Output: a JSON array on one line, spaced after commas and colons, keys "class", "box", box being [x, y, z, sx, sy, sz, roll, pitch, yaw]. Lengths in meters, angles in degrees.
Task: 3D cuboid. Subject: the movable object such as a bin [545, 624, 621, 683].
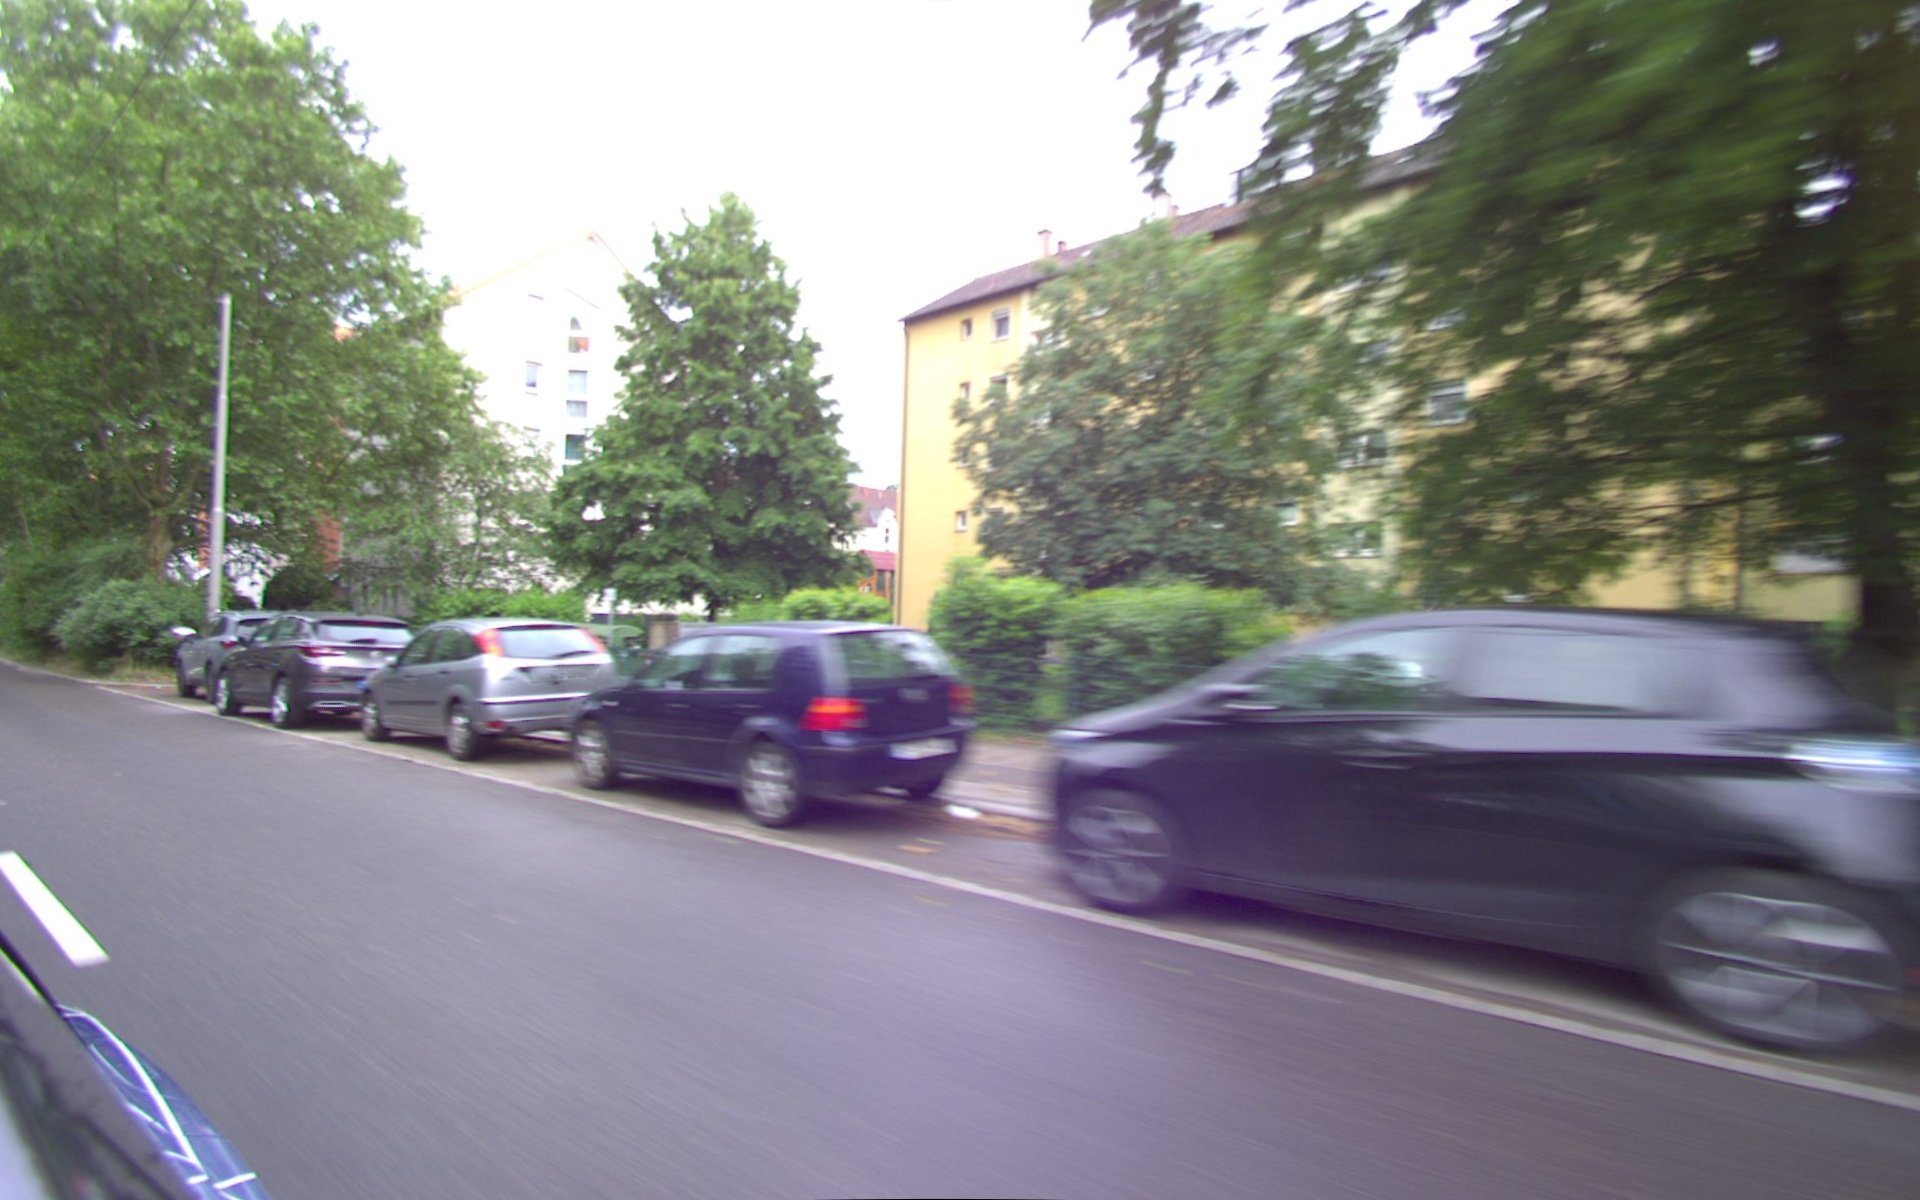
[{"class": "movable object such as a bin", "box": [-9.229, 1.285, 24.760, 1.480, 1.390, 1.222, -1, -2, 44]}]

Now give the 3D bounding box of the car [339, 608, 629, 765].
[{"class": "car", "box": [-5.692, 0.872, 11.860, 4.123, 1.519, 1.654, -1, -1, 43]}]

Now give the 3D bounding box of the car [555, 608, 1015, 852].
[{"class": "car", "box": [-1.579, 0.844, 8.260, 3.872, 1.519, 1.654, -1, -1, 41]}]

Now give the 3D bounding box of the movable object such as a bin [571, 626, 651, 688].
[{"class": "movable object such as a bin", "box": [-8.185, 1.305, 23.741, 1.480, 1.390, 1.222, -1, -2, 44]}]

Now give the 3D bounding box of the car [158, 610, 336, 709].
[{"class": "car", "box": [-13.742, 1.130, 19.397, 4.563, 1.670, 1.715, -2, -6, 42]}]

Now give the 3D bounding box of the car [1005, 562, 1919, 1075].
[{"class": "car", "box": [2.312, 0.745, 4.688, 4.016, 1.549, 1.631, -1, -6, 41]}]

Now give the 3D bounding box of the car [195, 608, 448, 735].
[{"class": "car", "box": [-9.474, 0.989, 14.898, 4.235, 1.603, 1.846, -1, -4, 39]}]

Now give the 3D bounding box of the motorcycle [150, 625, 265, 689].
[{"class": "motorcycle", "box": [-16.417, 1.261, 22.114, 0.782, 1.325, 1.821, -1, -5, 40]}]
